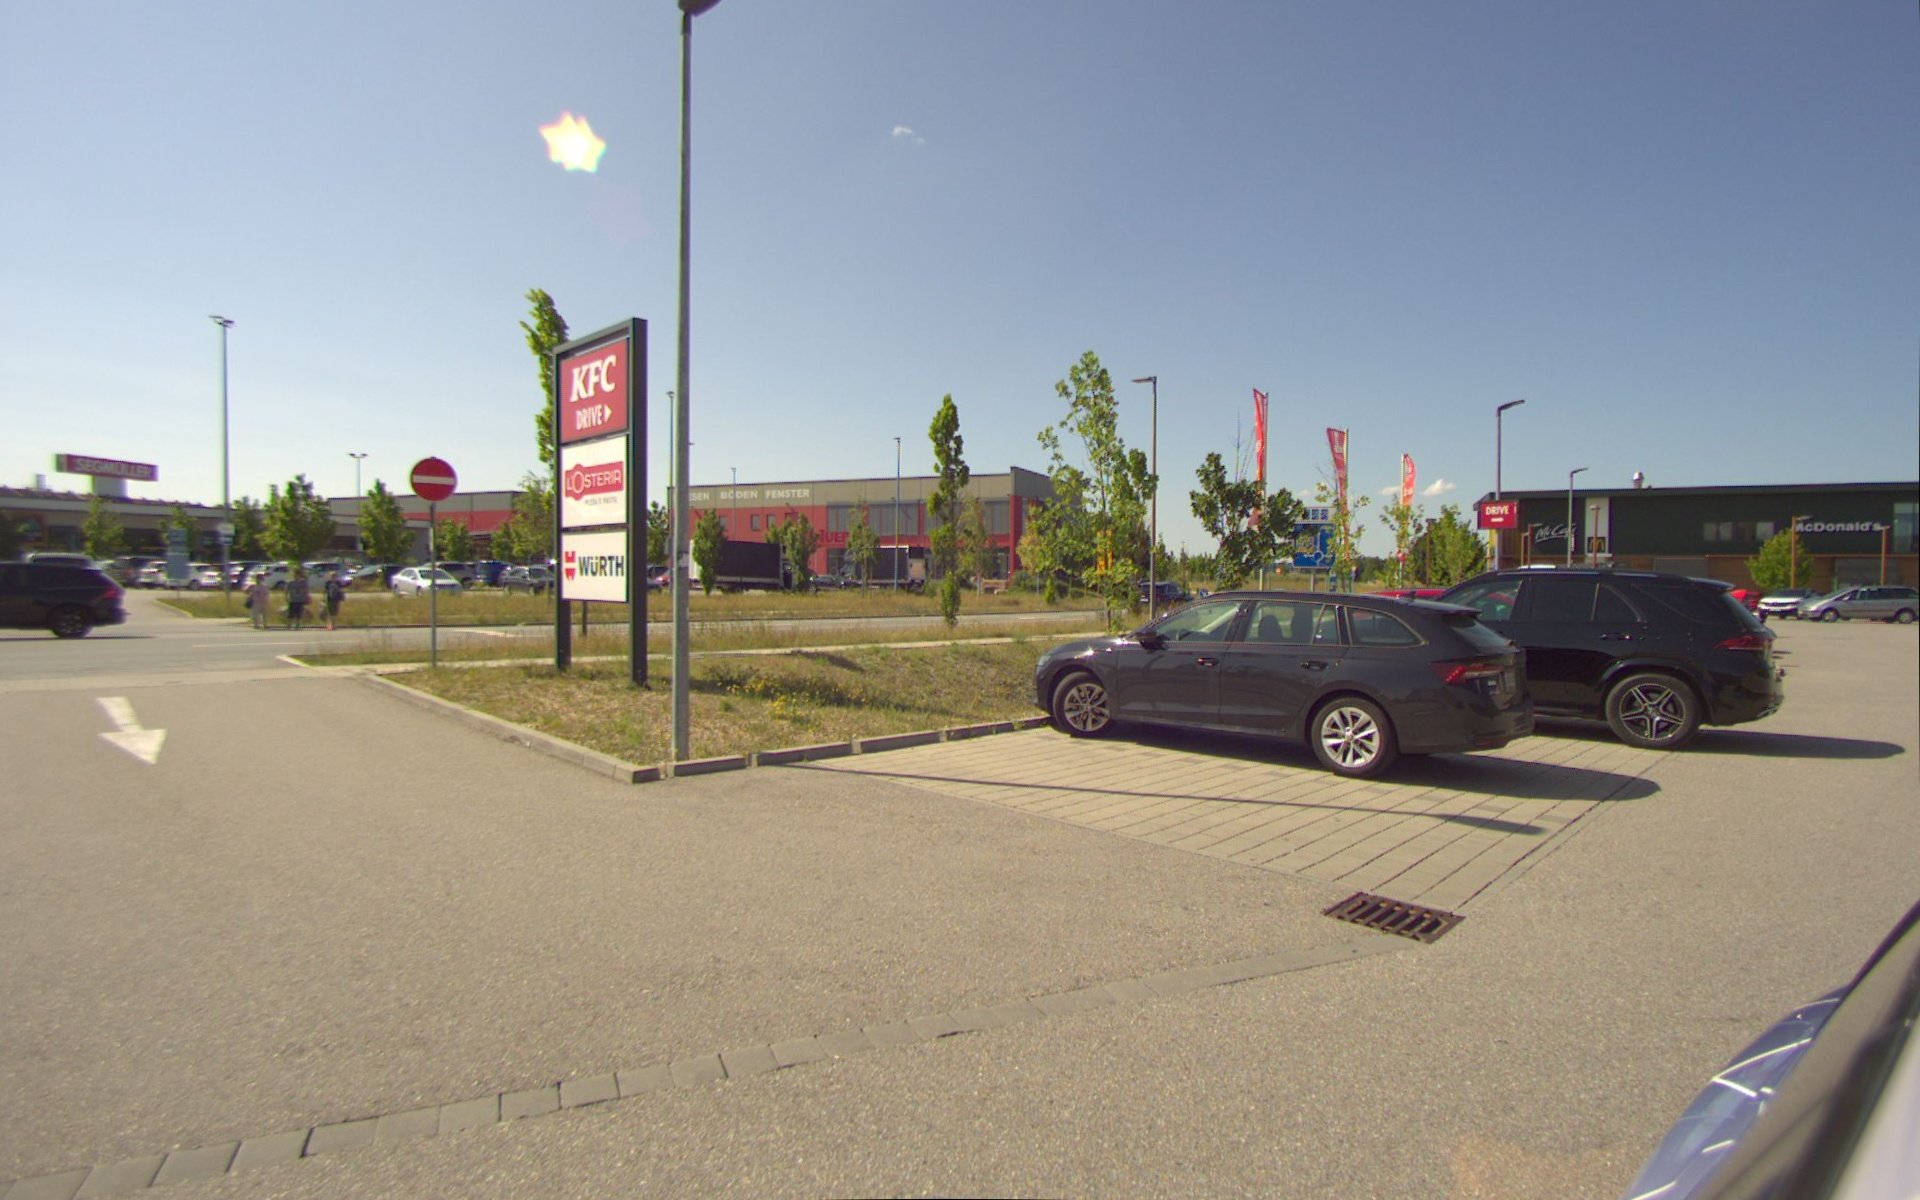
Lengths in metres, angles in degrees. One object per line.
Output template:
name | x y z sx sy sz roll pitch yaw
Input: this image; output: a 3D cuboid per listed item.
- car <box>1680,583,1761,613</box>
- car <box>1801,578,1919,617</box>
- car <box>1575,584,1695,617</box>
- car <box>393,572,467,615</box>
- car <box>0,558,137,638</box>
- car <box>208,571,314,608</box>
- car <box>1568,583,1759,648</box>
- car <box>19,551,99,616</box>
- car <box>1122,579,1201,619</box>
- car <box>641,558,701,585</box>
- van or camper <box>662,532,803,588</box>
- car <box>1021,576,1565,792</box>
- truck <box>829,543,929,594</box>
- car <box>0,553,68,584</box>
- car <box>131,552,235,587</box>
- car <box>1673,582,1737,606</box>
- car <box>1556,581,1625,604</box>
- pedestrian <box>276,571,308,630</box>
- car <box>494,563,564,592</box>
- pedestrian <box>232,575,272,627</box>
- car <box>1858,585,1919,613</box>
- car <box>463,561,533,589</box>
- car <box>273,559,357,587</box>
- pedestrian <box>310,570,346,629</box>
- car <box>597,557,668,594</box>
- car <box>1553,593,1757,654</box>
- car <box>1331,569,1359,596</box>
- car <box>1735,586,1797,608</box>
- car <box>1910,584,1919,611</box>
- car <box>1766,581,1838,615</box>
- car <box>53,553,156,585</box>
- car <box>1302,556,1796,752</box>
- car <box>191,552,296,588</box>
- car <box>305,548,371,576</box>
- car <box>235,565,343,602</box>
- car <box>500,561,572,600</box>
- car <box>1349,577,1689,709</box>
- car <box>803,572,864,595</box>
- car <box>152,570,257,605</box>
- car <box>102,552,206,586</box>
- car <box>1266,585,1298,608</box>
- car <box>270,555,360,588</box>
car | 40.276 -0.109 53.591 4.123 1.545 1.978 0 1 -30
car | 42.703 -0.161 47.459 4.630 1.770 1.819 1 1 23
car | 30.984 0.018 46.647 4.443 1.487 1.814 0 1 30
car | -24.324 -0.326 46.366 1.966 1.879 4.277 0 1 -43
car | -20.654 -0.057 21.425 1.990 1.645 4.739 1 1 39
car | -37.504 -0.581 54.427 1.933 1.879 4.371 1 1 23
car | 19.276 0.371 27.890 4.205 1.658 1.926 0 1 36
car | -29.313 -0.538 33.014 1.846 1.979 4.887 0 1 -41
car | 9.384 -0.061 46.839 1.986 1.754 4.701 1 1 34
car | -20.611 -2.023 72.302 1.849 1.879 4.235 1 1 23
van or camper | -13.610 -2.329 60.913 7.899 3.140 2.420 0 0 -34
car | 2.886 0.561 9.386 4.437 1.505 1.849 2 1 41
truck | -5.834 -2.252 72.547 6.771 3.524 2.740 1 0 29
car | -59.397 -1.957 63.787 1.932 1.879 4.375 1 1 20
car | -44.350 -1.722 57.900 1.933 1.879 4.371 1 1 23
car | 53.189 -0.430 72.237 4.376 1.622 1.965 0 1 -27
car | 49.277 -0.564 79.148 4.155 1.712 1.998 1 1 0
pedestrian | -18.343 0.005 27.787 0.655 1.575 0.625 0 0 -41
car | -29.849 -1.536 70.201 1.933 1.879 4.371 1 1 23
pedestrian | -19.414 0.022 27.756 0.861 1.415 0.715 -1 0 41
car | 53.378 -0.075 56.835 1.676 1.511 4.123 0 1 -21
car | -32.555 -1.762 71.380 1.933 1.879 4.371 1 1 23
car | -46.650 -1.938 73.327 1.933 1.879 4.913 1 1 23
pedestrian | -17.586 -0.024 28.162 0.743 1.620 0.691 0 0 -41
car | -17.646 -1.294 54.434 1.923 1.879 4.395 0 1 -43
car | 17.636 0.545 25.908 4.176 1.428 1.752 0 1 34
car | 33.588 -1.520 88.186 1.978 2.224 5.065 1 1 24
car | 56.258 -0.194 70.621 4.378 1.484 1.964 0 1 -30
car | 56.107 -0.109 56.484 1.775 1.534 4.123 0 1 -21
car | 43.381 -0.131 52.132 4.129 1.675 1.974 0 1 -37
car | -51.529 -1.839 61.045 1.932 1.879 4.375 1 1 20
car | 6.460 0.471 11.432 4.570 1.783 1.868 0 1 41
car | -39.412 -1.643 55.774 1.933 1.879 4.371 1 1 23
car | -48.298 -2.945 78.684 1.980 2.039 3.964 1 1 26
car | -35.060 -0.862 53.003 1.933 1.879 4.371 1 1 23
car | -21.128 -0.964 50.379 1.923 1.879 4.395 0 1 -43
car | 7.966 0.528 14.575 4.059 1.629 1.870 0 0 38
car | -8.651 -1.120 69.019 3.930 1.478 1.639 1 1 28
car | -42.267 -0.686 56.754 1.933 1.879 4.371 1 1 23
car | -46.812 -1.761 58.862 1.933 1.879 4.371 1 1 23
car | 25.284 -0.272 79.384 2.006 1.739 4.267 1 1 24
car | -39.316 -1.716 61.792 1.933 1.879 4.371 1 1 23
